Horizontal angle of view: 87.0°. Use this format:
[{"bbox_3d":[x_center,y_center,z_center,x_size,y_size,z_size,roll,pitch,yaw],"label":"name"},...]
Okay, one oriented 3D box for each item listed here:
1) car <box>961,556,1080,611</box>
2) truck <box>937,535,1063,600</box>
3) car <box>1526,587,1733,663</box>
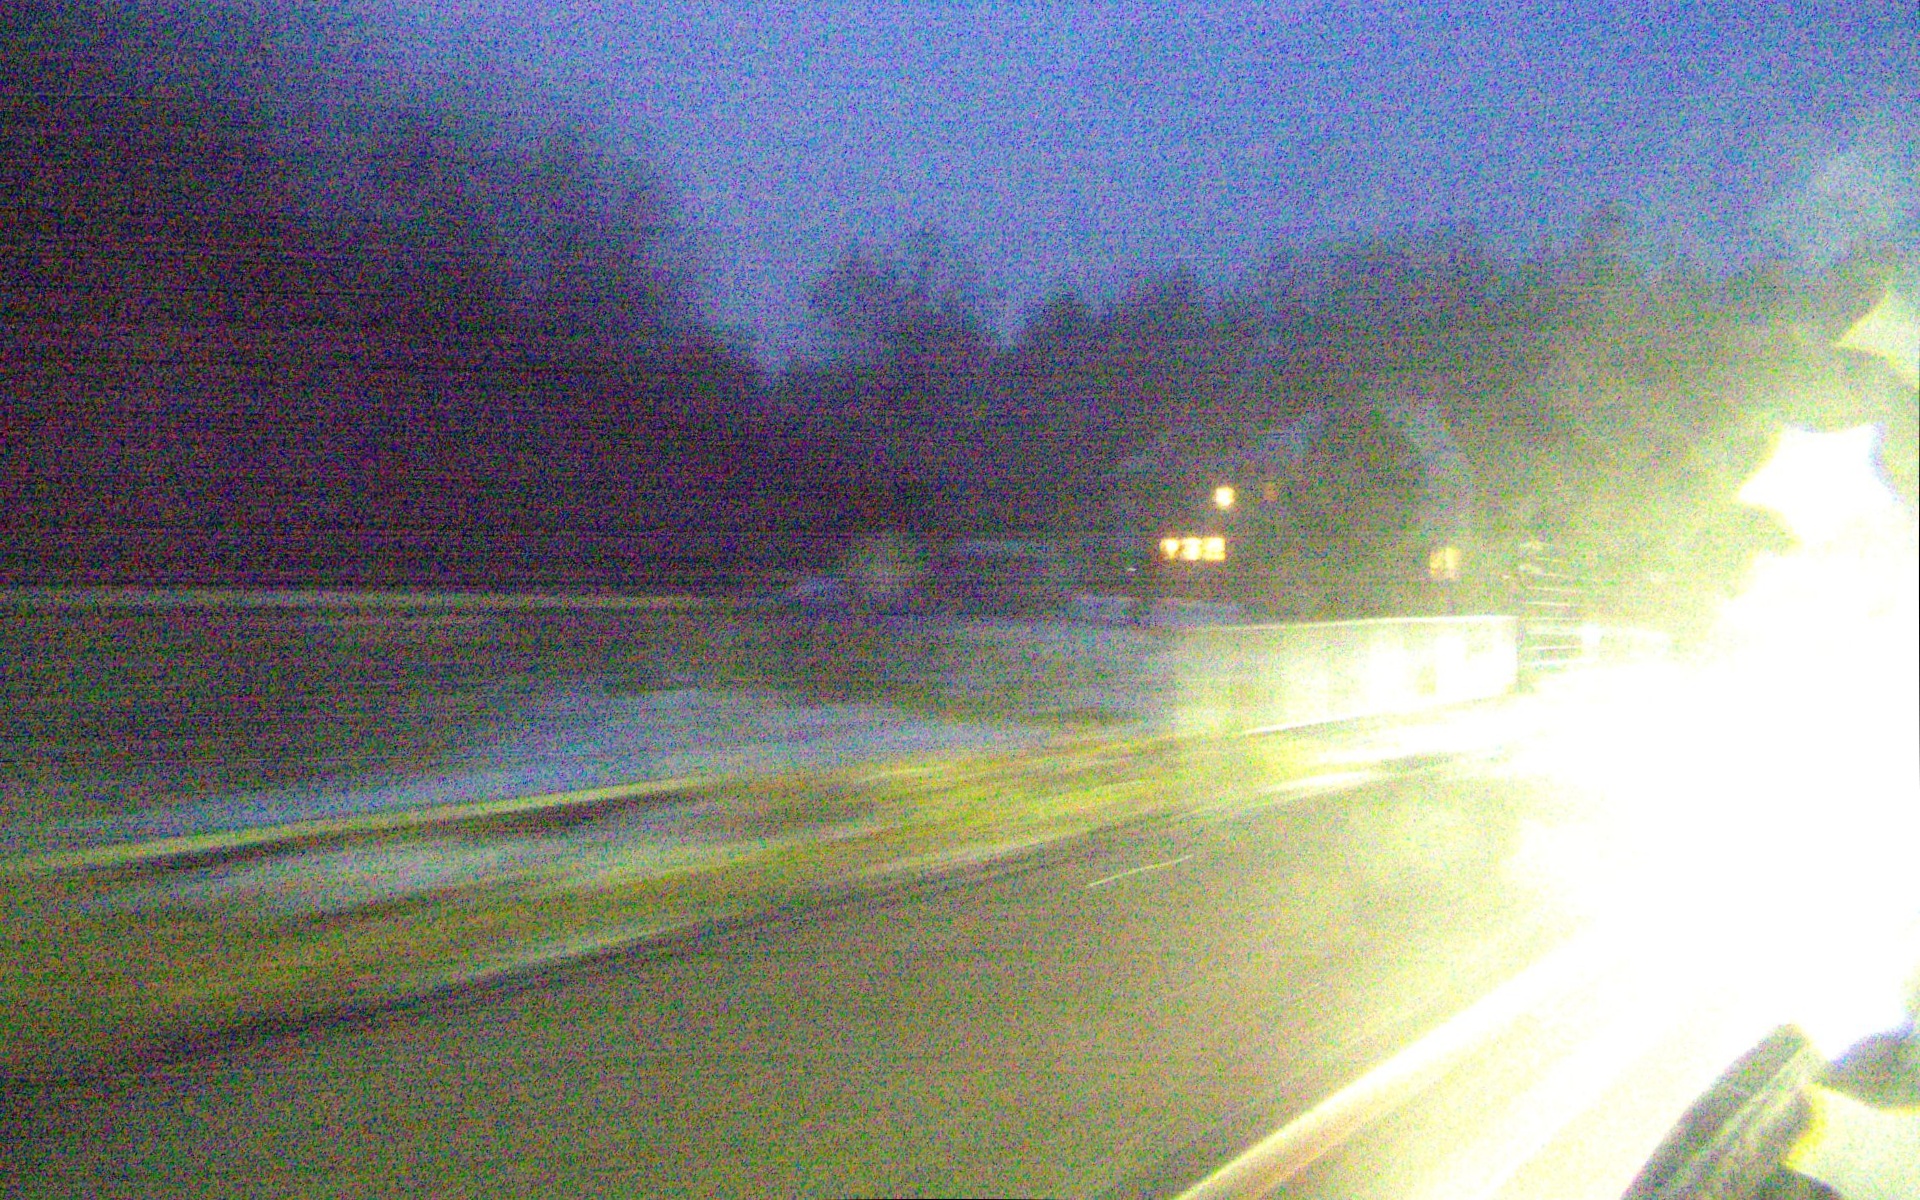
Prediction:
[{"bbox_3d":[2.329,-0.679,39.941,1.965,2.038,4.752,0,2,-40],"label":"car"},{"bbox_3d":[1.798,-1.413,45.625,5.302,2.788,2.206,0,0,27],"label":"truck"},{"bbox_3d":[15.881,0.522,24.209,1.714,1.539,3.745,0,3,-27],"label":"car"}]
